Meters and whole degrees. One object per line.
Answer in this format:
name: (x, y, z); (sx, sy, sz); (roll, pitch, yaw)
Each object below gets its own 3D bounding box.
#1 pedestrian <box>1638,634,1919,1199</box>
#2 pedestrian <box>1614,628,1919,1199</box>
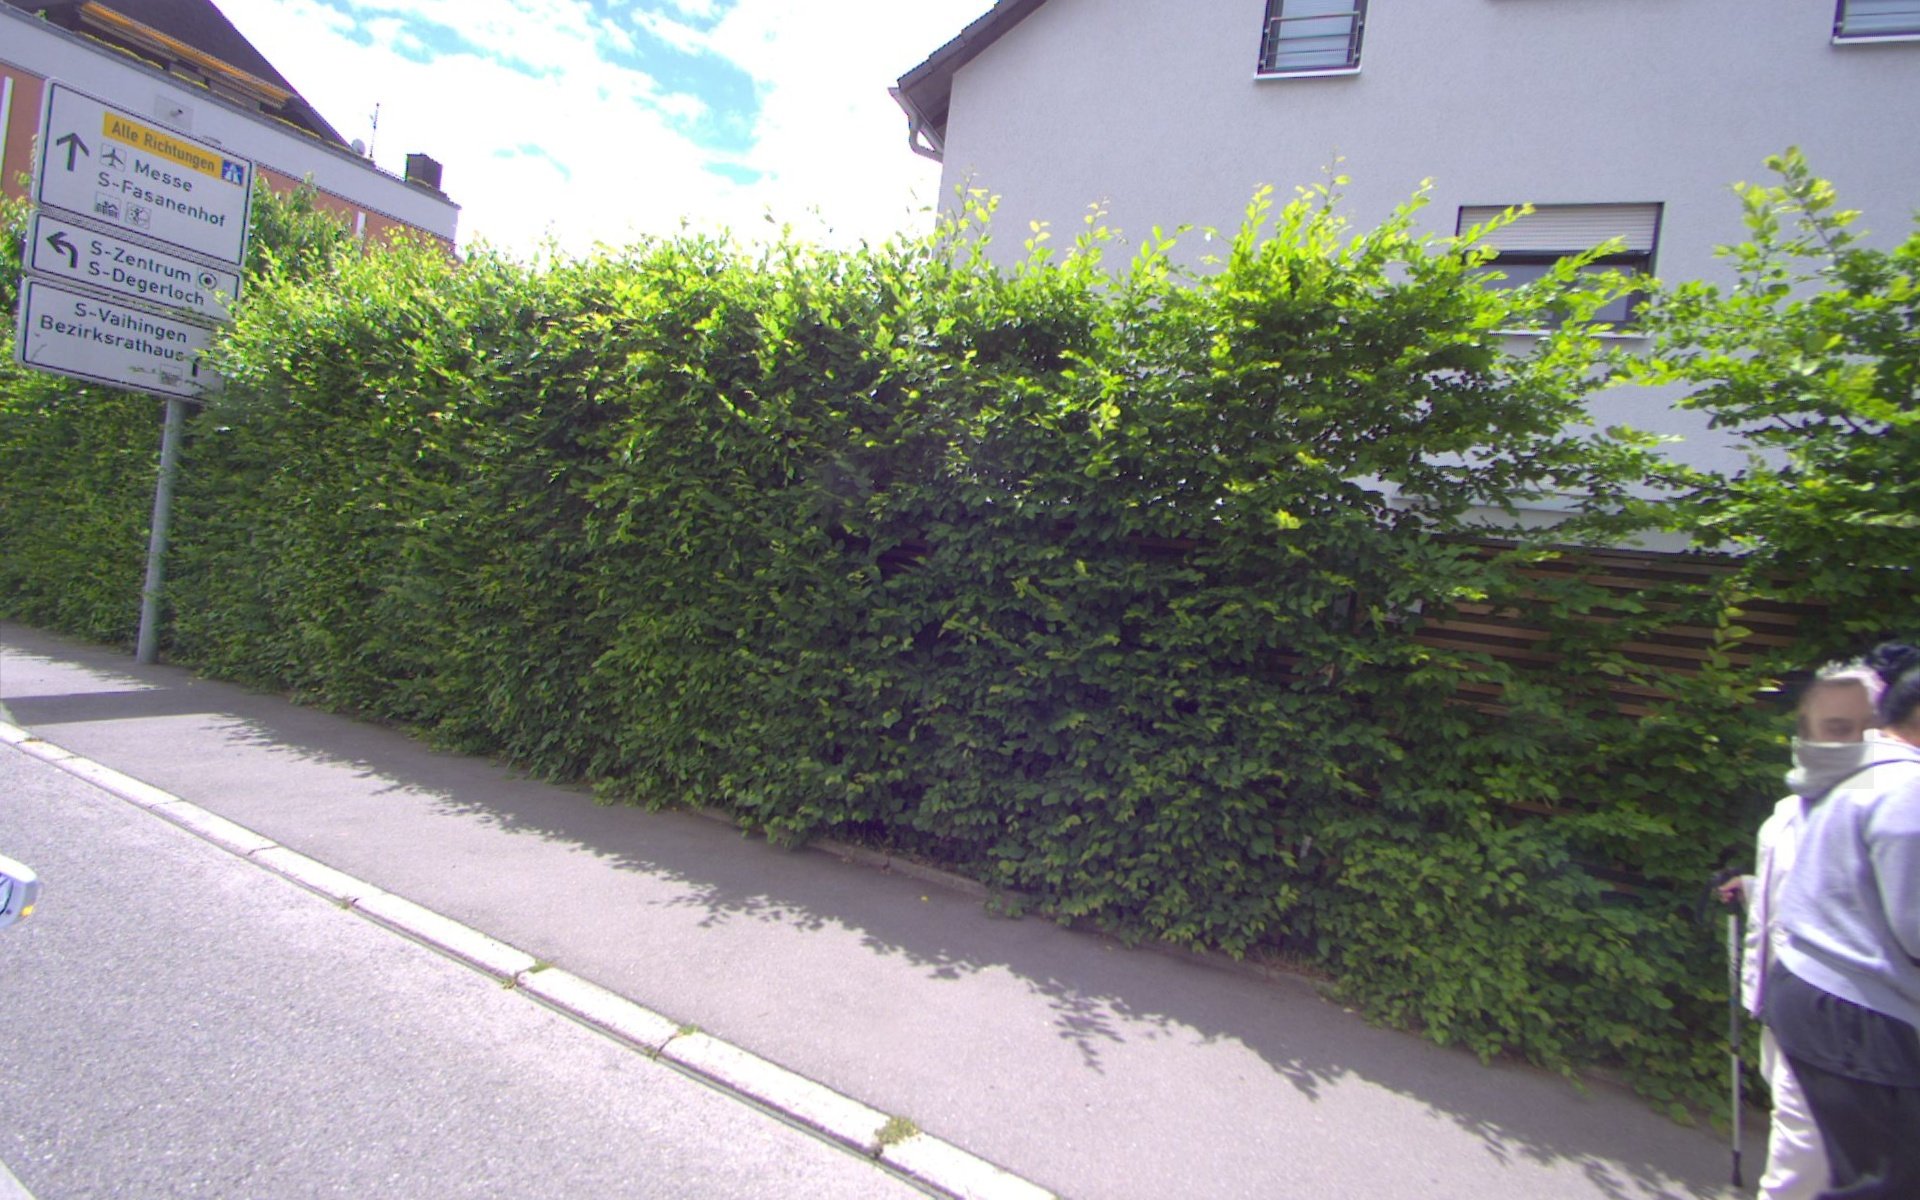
pedestrian: (2.313, 0.953, 2.678); (0.642, 1.638, 0.799); (7, 1, 32)
pedestrian: (1.893, 0.918, 2.031); (0.822, 1.626, 0.602); (7, 2, 32)
